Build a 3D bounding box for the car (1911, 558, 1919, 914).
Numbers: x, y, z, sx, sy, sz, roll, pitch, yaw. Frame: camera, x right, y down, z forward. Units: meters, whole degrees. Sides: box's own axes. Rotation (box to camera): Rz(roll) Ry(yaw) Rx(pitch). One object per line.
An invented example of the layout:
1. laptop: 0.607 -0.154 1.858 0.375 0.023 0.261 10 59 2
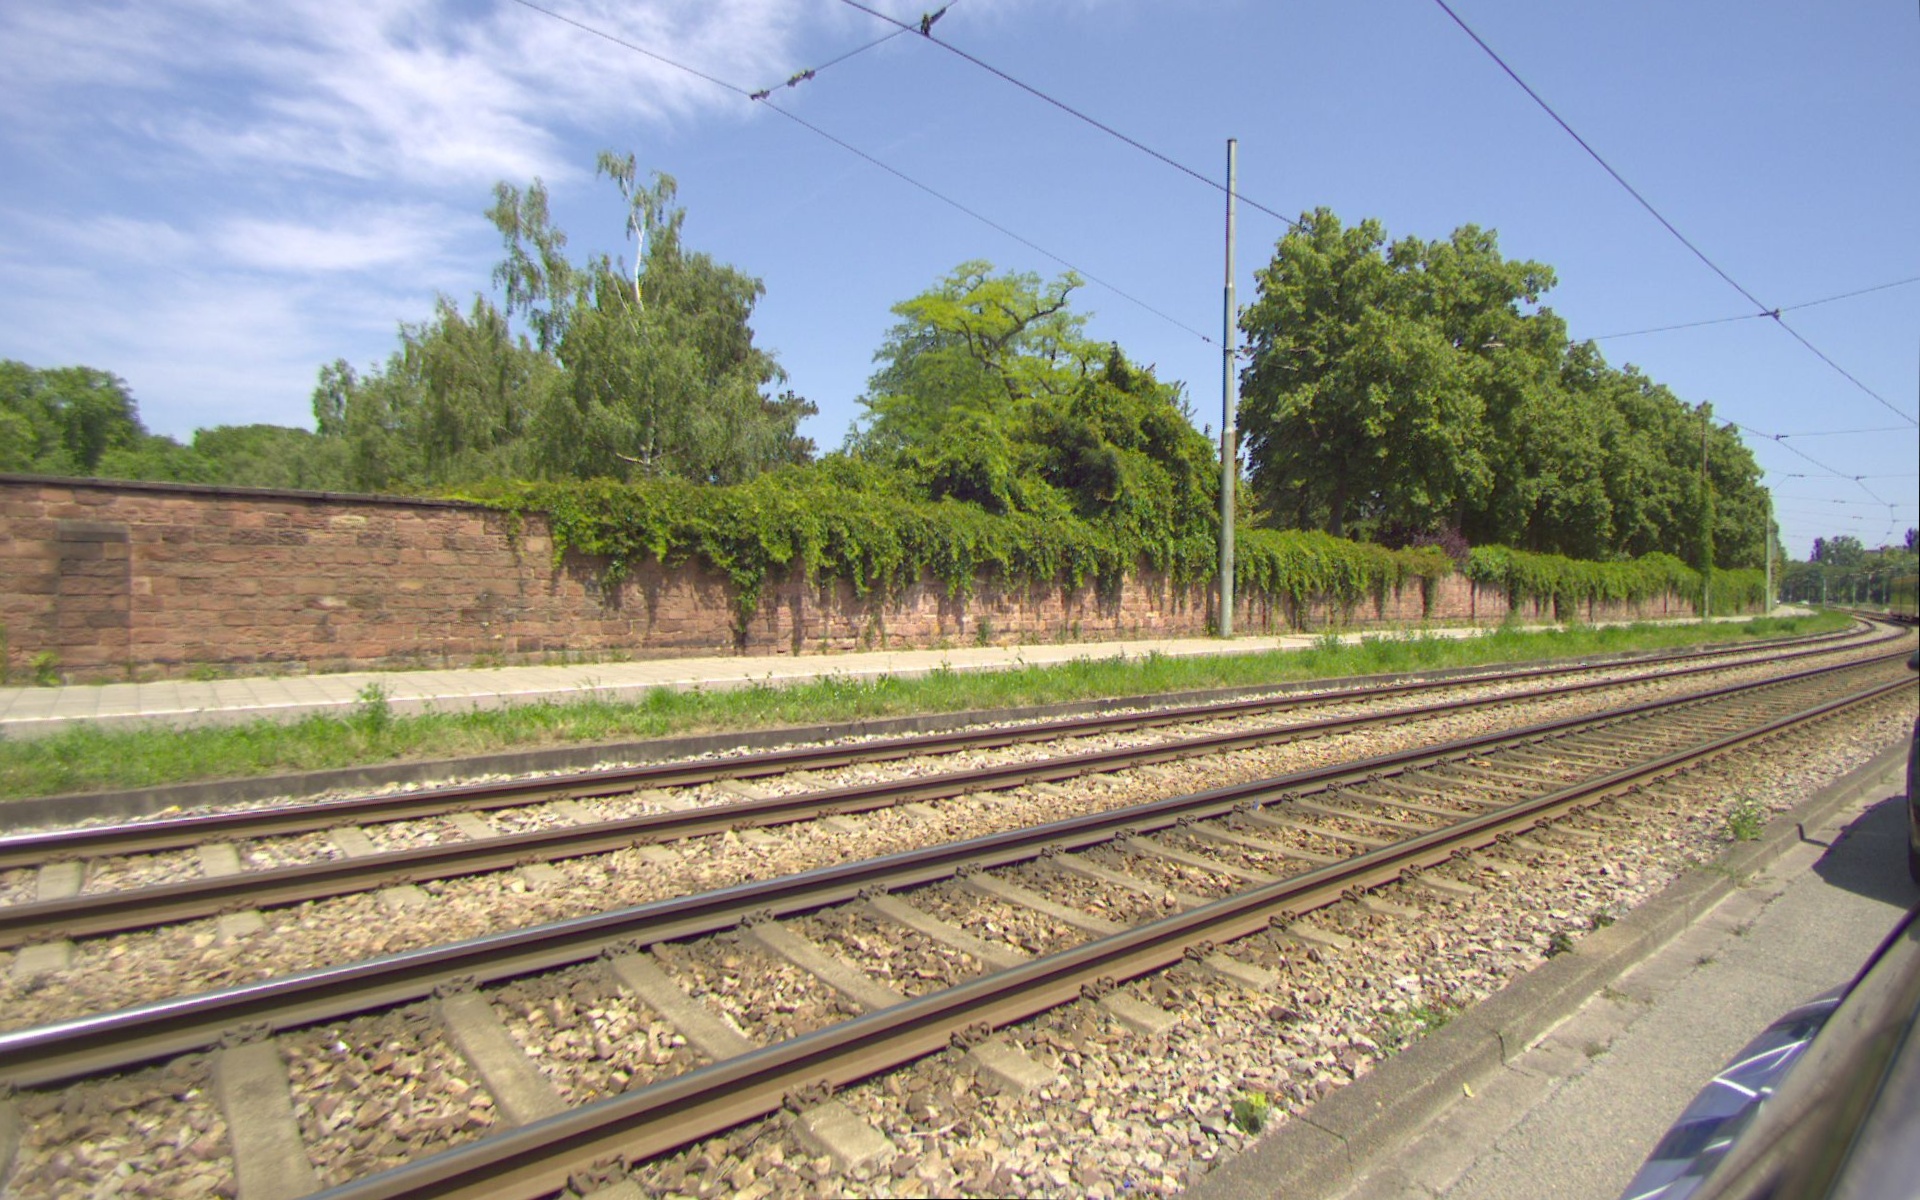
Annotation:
1. car: 6.515 0.613 5.340 4.349 1.603 1.757 0 0 -41
